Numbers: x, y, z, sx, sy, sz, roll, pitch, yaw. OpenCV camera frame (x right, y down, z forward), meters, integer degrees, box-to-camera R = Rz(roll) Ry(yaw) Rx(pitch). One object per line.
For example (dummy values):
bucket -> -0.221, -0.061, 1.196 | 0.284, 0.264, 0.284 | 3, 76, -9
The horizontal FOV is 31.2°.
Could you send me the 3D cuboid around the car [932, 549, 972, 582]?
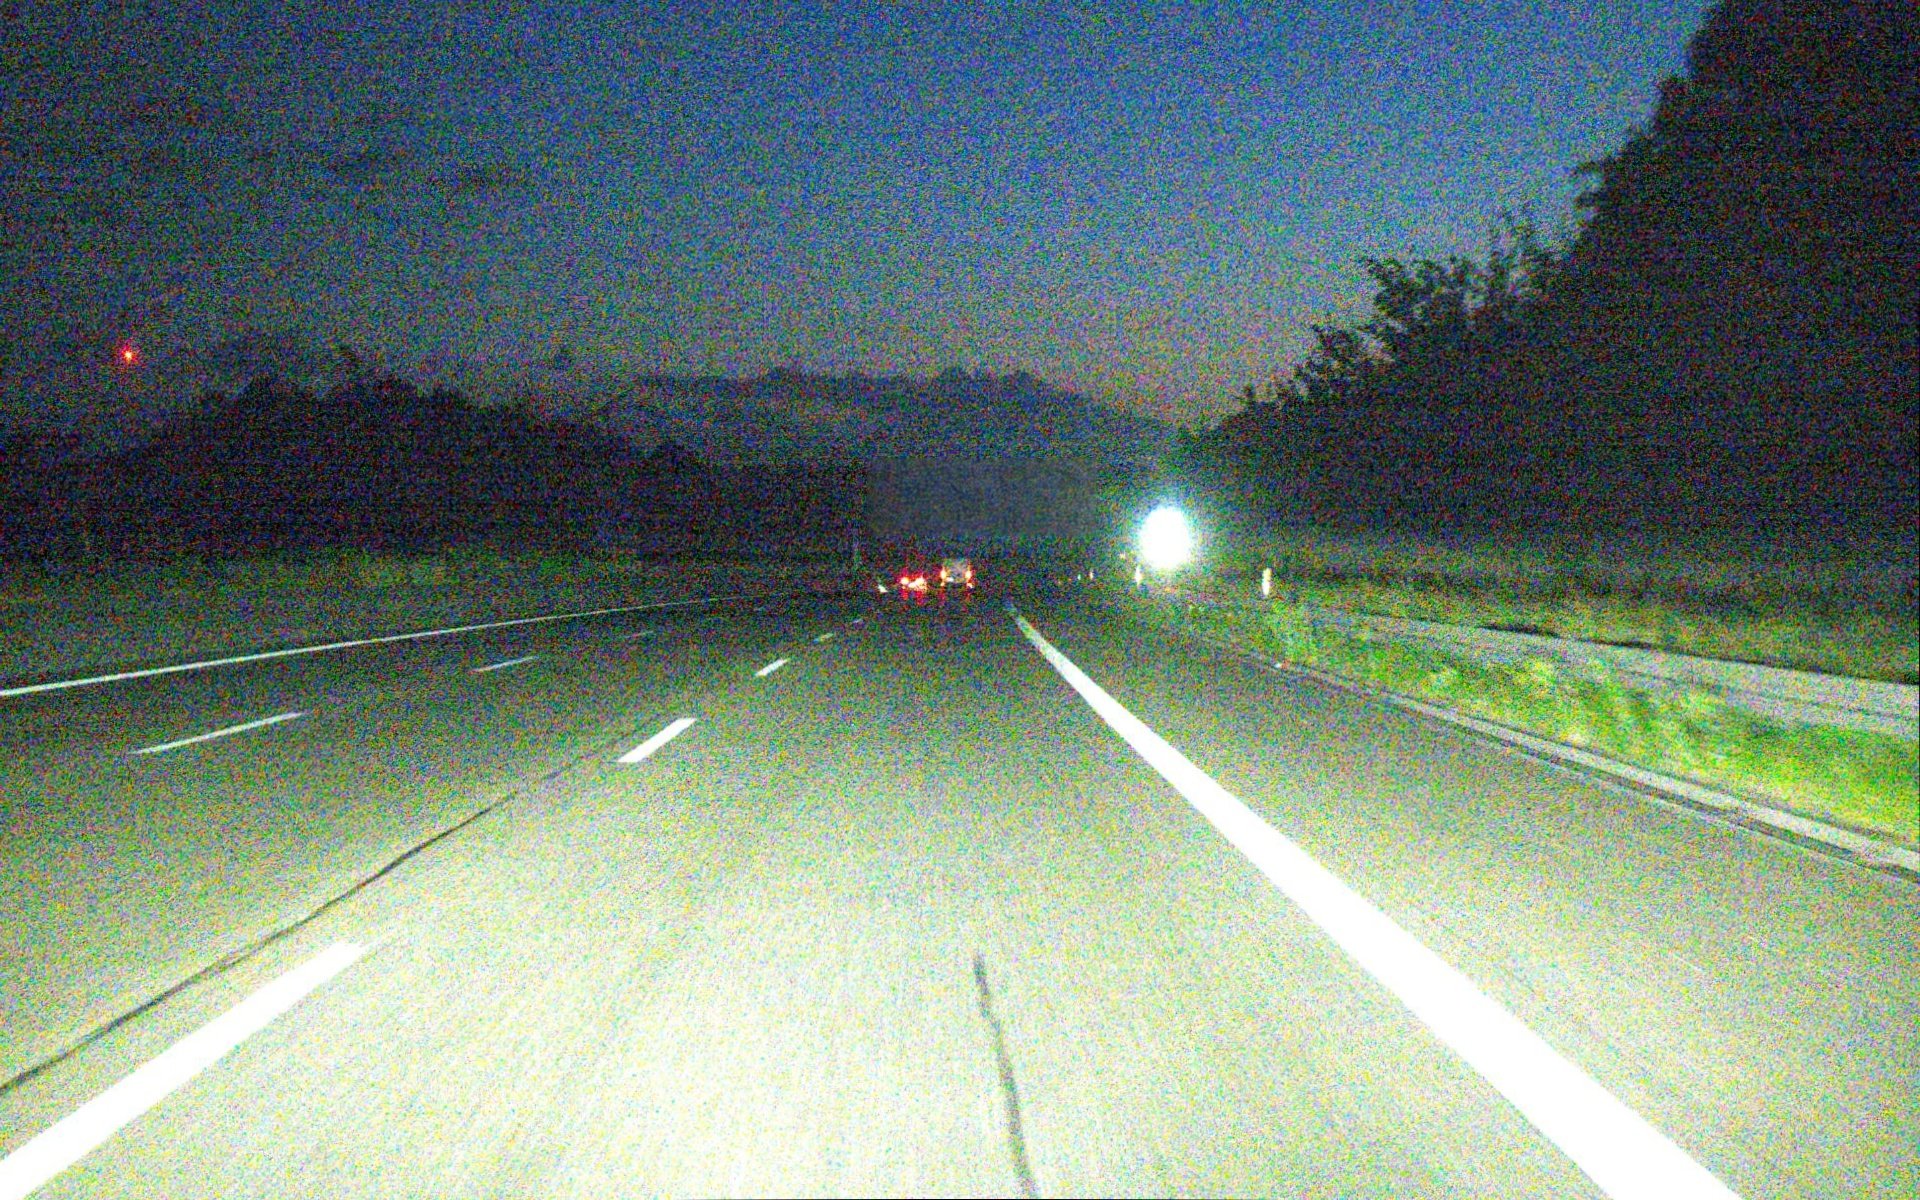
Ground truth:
car -> -0.581, -2.514, 251.362 | 2.511, 2.306, 4.969 | 0, 0, 5
